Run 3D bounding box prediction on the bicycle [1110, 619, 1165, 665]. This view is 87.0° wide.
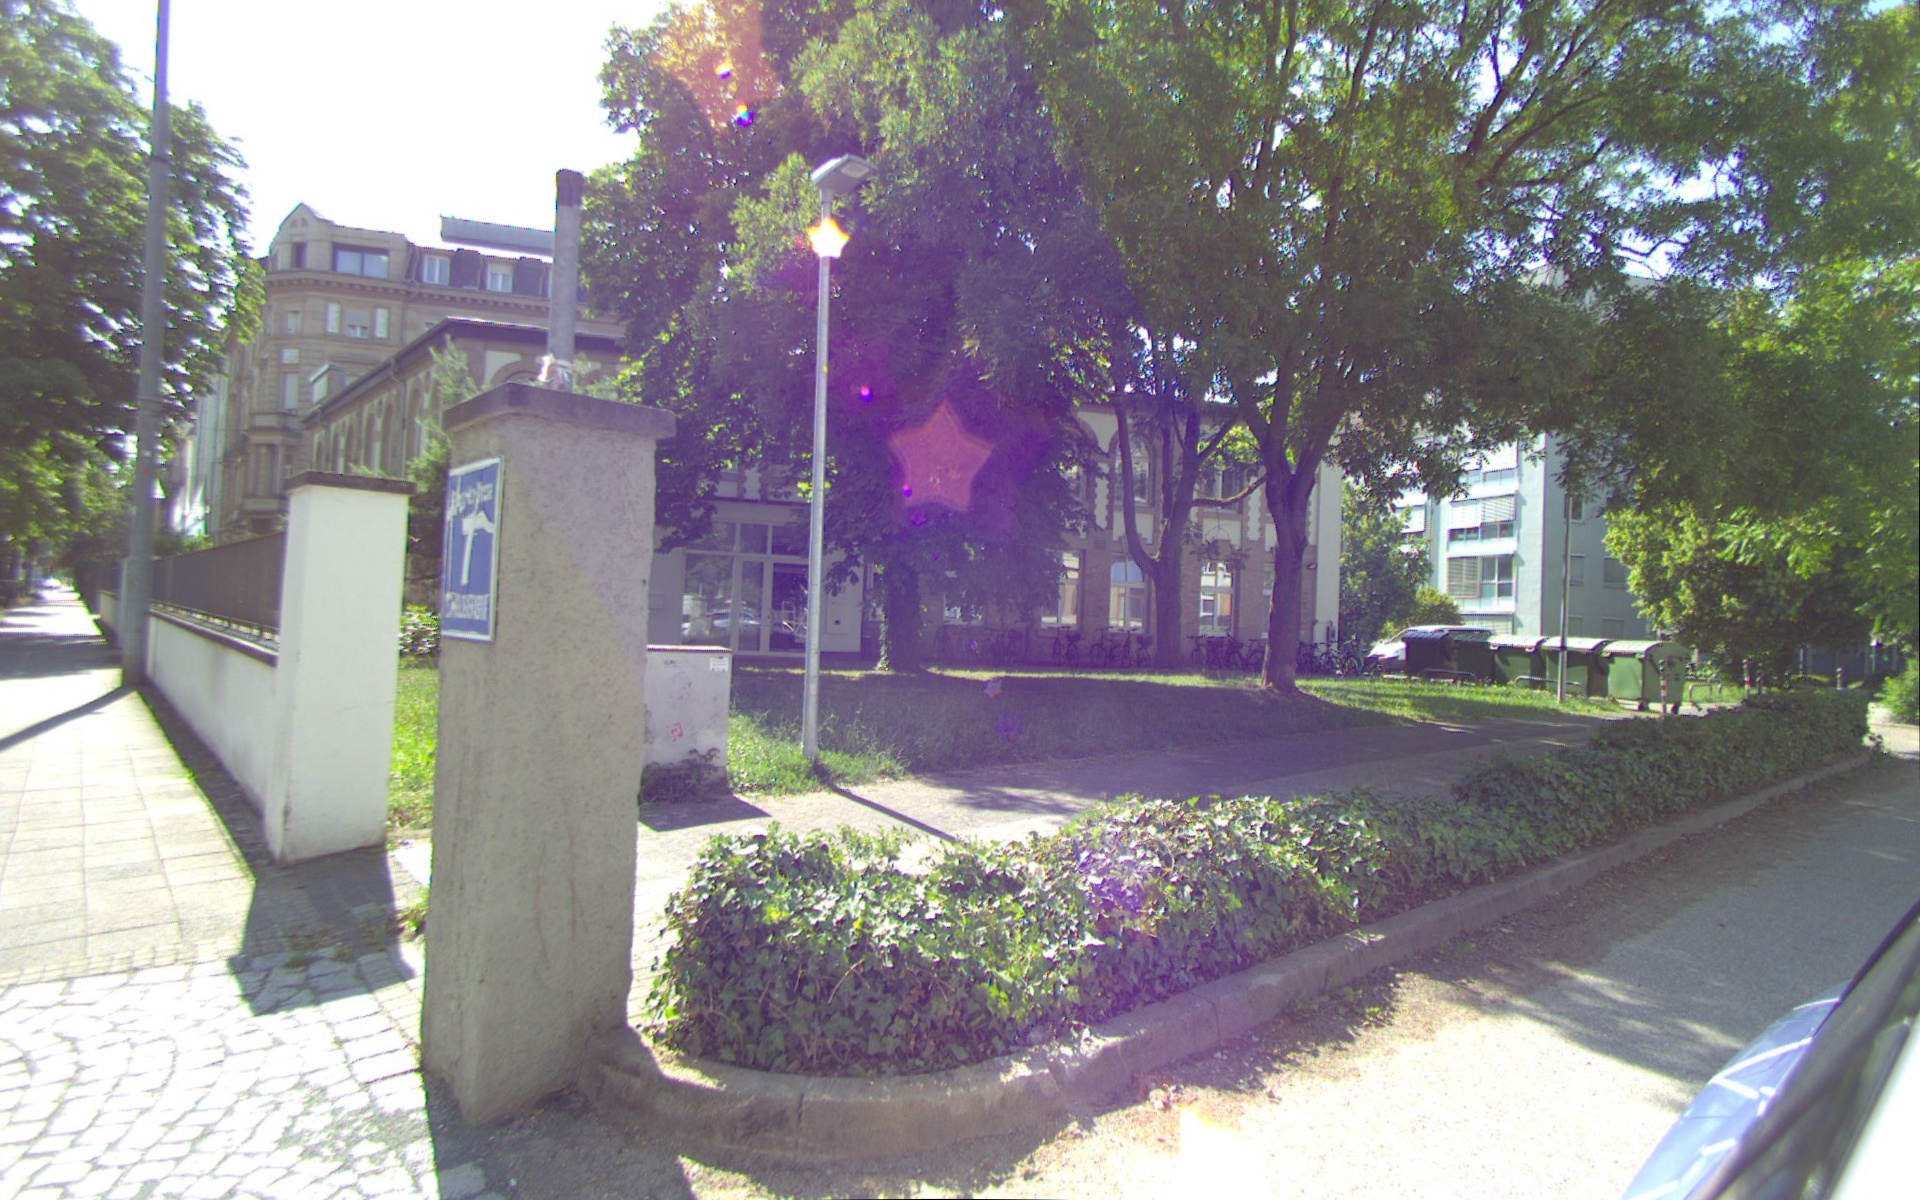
[{"bbox_3d":[4.819,1.120,27.574,0.575,1.176,2.107,2,-1,-16],"label":"bicycle"}]

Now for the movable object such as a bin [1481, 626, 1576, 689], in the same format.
[{"bbox_3d":[13.255,1.326,23.627,1.190,1.379,1.505,2,-1,-19],"label":"movable object such as a bin"}]

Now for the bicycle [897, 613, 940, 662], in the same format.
[{"bbox_3d":[-1.074,0.945,25.899,0.575,1.176,2.107,2,-1,-16],"label":"bicycle"}]

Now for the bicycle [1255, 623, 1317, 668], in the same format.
[{"bbox_3d":[9.222,1.262,28.720,0.575,1.176,2.107,2,-1,-16],"label":"bicycle"}]

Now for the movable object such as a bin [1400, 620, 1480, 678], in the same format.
[{"bbox_3d":[12.630,1.271,26.664,1.224,1.427,1.439,2,-1,-21],"label":"movable object such as a bin"}]

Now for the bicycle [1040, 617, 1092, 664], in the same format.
[{"bbox_3d":[2.809,1.061,26.995,0.575,1.176,2.107,2,-1,-16],"label":"bicycle"}]

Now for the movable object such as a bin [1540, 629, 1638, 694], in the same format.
[{"bbox_3d":[13.758,1.332,22.182,1.190,1.317,1.358,2,-1,-19],"label":"movable object such as a bin"}]

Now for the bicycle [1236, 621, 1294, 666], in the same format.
[{"bbox_3d":[8.539,1.205,28.449,0.575,1.176,1.925,2,-1,-16],"label":"bicycle"}]

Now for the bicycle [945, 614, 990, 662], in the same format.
[{"bbox_3d":[0.175,0.969,26.387,0.575,1.176,2.107,2,-1,-16],"label":"bicycle"}]

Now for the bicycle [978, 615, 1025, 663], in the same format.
[{"bbox_3d":[1.068,1.010,26.578,0.575,1.176,2.107,2,-1,-16],"label":"bicycle"}]

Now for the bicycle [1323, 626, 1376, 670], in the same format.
[{"bbox_3d":[11.212,1.369,29.167,0.496,1.176,1.808,2,-1,-12],"label":"bicycle"}]

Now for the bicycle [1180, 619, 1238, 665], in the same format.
[{"bbox_3d":[6.867,1.139,28.019,0.575,1.176,2.107,2,-1,-16],"label":"bicycle"}]

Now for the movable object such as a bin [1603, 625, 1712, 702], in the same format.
[{"bbox_3d":[14.309,1.281,20.810,1.191,1.481,1.393,2,-1,-4],"label":"movable object such as a bin"}]

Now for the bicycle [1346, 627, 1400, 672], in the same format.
[{"bbox_3d":[11.837,1.402,29.090,0.546,1.176,1.947,2,-1,-6],"label":"bicycle"}]

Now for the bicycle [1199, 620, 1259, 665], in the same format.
[{"bbox_3d":[7.481,1.160,28.256,0.575,1.176,2.107,2,-1,-16],"label":"bicycle"}]

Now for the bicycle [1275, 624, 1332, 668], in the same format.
[{"bbox_3d":[9.766,1.295,28.856,0.484,1.176,1.918,2,-1,-16],"label":"bicycle"}]

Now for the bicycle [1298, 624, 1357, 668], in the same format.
[{"bbox_3d":[10.562,1.307,29.141,0.600,1.176,1.855,2,-1,-16],"label":"bicycle"}]

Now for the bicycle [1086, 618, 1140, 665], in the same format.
[{"bbox_3d":[4.101,1.098,27.329,0.575,1.176,2.107,2,-1,-16],"label":"bicycle"}]

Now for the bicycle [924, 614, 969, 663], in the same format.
[{"bbox_3d":[-0.376,0.958,26.097,0.575,1.176,2.107,2,-1,-16],"label":"bicycle"}]

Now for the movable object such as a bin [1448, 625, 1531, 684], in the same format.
[{"bbox_3d":[13.168,1.341,25.181,1.190,1.366,1.355,2,-1,-19],"label":"movable object such as a bin"}]
